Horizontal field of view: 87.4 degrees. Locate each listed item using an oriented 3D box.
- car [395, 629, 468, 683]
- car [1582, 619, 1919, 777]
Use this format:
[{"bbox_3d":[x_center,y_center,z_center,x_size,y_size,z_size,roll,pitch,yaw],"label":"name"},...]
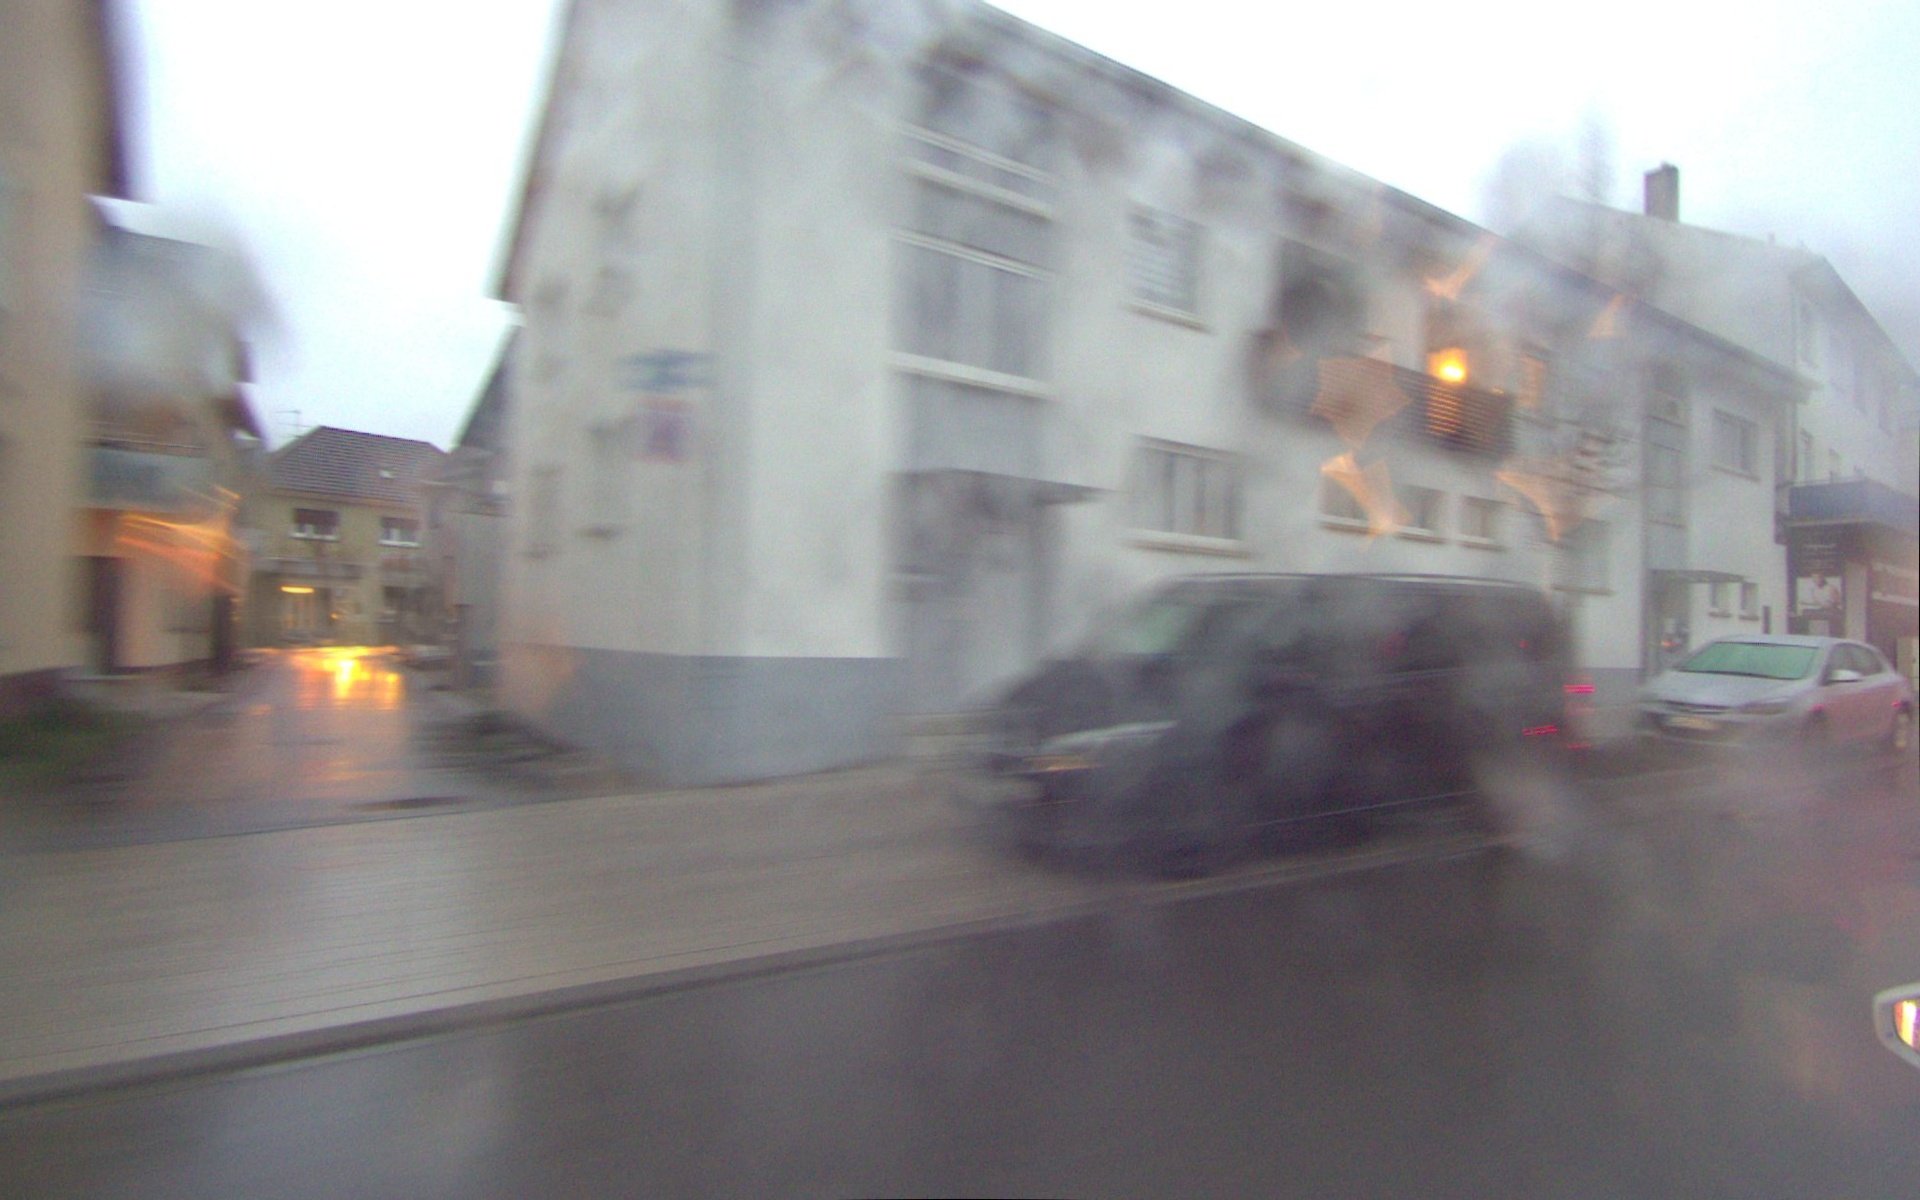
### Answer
[{"bbox_3d":[-17.146,1.791,32.498,1.705,1.634,3.974,1,-3,-33],"label":"car"},{"bbox_3d":[10.078,1.090,12.652,4.494,1.550,1.902,1,3,-31],"label":"car"}]
